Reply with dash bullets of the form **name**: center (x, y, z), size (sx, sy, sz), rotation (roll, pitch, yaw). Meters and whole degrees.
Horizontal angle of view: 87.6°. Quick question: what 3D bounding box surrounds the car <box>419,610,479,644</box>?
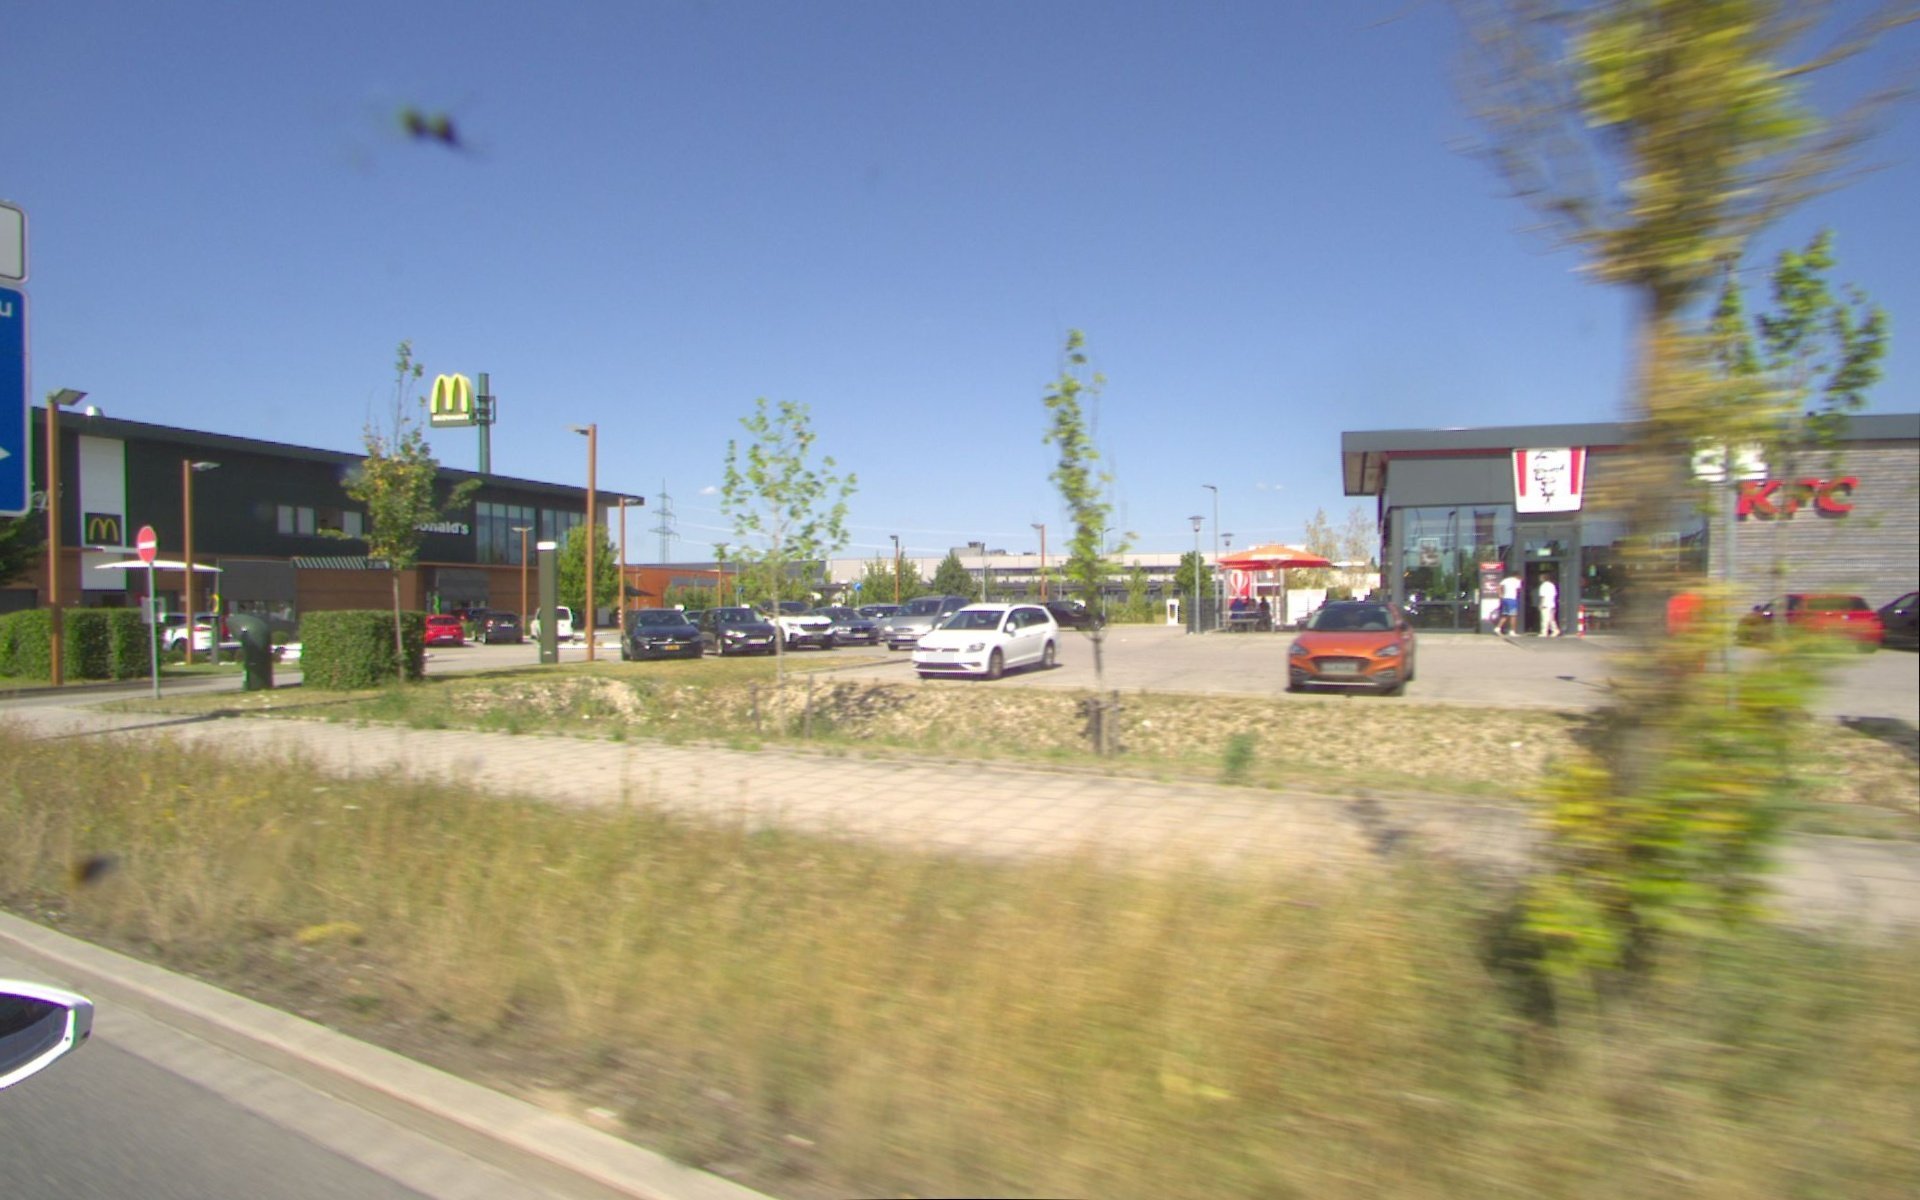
- **car**: center (-23.724, 1.231, 46.428), size (1.777, 1.453, 3.970), rotation (-1, 0, -37)

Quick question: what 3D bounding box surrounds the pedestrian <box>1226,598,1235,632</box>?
- **pedestrian**: center (10.094, 0.554, 37.351), size (0.287, 1.257, 0.379), rotation (-1, 1, 20)

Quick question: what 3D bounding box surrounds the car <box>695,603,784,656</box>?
- **car**: center (-6.790, 0.858, 30.540), size (1.763, 1.481, 4.153), rotation (-1, 0, -25)

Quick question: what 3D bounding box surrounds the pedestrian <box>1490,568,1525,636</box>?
- **pedestrian**: center (16.587, 0.066, 30.366), size (0.877, 2.040, 0.913), rotation (0, 0, 25)

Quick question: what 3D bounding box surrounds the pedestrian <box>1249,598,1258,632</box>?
- **pedestrian**: center (11.084, 0.560, 37.838), size (0.287, 1.257, 0.379), rotation (-1, 1, 20)

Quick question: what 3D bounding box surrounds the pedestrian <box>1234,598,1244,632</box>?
- **pedestrian**: center (10.380, 0.551, 37.258), size (0.287, 1.257, 0.379), rotation (-1, 1, 20)

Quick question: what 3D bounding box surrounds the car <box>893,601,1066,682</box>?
- **car**: center (0.560, 0.792, 21.408), size (1.840, 1.510, 4.521), rotation (0, 0, 28)

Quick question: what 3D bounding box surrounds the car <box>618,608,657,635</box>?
- **car**: center (-19.007, 1.230, 59.193), size (1.765, 1.540, 3.996), rotation (-1, 0, -12)

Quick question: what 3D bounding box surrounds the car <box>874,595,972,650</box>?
- **car**: center (-1.141, 0.707, 32.836), size (1.760, 1.657, 4.160), rotation (-1, 0, 21)

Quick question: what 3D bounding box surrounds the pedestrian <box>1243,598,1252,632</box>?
- **pedestrian**: center (10.675, 0.549, 37.152), size (0.287, 1.257, 0.379), rotation (-1, 1, 20)

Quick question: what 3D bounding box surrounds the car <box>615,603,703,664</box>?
- **car**: center (-8.202, 0.858, 27.077), size (1.676, 1.481, 4.153), rotation (-1, 0, -25)

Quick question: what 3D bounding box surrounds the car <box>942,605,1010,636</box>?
- **car**: center (0.735, 1.022, 50.036), size (1.763, 1.470, 4.153), rotation (-1, 0, -25)

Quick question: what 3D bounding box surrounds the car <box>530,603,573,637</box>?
- **car**: center (-21.616, 1.030, 52.897), size (1.771, 1.724, 3.983), rotation (-1, 0, -27)

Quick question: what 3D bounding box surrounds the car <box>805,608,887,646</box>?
- **car**: center (-4.286, 0.962, 37.111), size (1.763, 1.314, 4.153), rotation (-1, 0, -25)

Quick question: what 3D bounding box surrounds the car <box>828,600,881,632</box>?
- **car**: center (-6.124, 0.893, 57.615), size (1.763, 1.780, 4.153), rotation (-1, 0, -25)

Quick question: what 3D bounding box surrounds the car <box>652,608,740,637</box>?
- **car**: center (-13.390, 1.136, 50.852), size (4.111, 1.391, 1.793), rotation (-1, 0, -22)

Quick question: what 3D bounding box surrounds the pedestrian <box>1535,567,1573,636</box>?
- **pedestrian**: center (17.762, 0.056, 29.956), size (0.877, 2.040, 0.913), rotation (0, 0, 25)

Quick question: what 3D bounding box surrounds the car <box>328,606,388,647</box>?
- **car**: center (-25.800, 1.108, 42.868), size (1.777, 1.625, 3.970), rotation (-1, 0, -37)

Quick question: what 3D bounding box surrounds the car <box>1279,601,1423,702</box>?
- **car**: center (6.912, 0.780, 17.462), size (1.840, 1.510, 4.200), rotation (0, 0, 28)

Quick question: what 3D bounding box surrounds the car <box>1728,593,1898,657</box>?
- **car**: center (21.400, 0.570, 25.372), size (1.836, 1.450, 4.558), rotation (0, 1, 21)

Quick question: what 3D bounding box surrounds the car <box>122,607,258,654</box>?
- **car**: center (-25.380, 0.997, 33.023), size (3.931, 1.453, 1.794), rotation (-1, 0, 22)

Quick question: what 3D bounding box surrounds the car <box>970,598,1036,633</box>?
- **car**: center (2.208, 0.793, 52.456), size (1.763, 1.780, 4.153), rotation (-1, 0, -25)

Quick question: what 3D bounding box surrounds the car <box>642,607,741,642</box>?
- **car**: center (-11.532, 1.013, 42.970), size (3.934, 1.391, 1.793), rotation (-1, 0, -22)

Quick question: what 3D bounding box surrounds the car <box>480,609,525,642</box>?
- **car**: center (-22.560, 1.247, 49.295), size (1.771, 1.533, 3.982), rotation (-1, 0, -28)

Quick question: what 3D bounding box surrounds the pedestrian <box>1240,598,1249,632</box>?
- **pedestrian**: center (10.789, 0.563, 37.942), size (0.287, 1.257, 0.379), rotation (-1, 1, 20)

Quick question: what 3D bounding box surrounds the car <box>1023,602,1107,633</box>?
- **car**: center (5.589, 0.922, 53.509), size (4.099, 1.542, 1.786), rotation (0, 0, -21)

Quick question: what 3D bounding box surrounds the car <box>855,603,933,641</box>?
- **car**: center (-2.732, 0.864, 40.615), size (1.763, 1.470, 4.153), rotation (-1, 0, -25)

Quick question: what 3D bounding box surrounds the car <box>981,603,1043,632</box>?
- **car**: center (2.879, 0.985, 56.666), size (1.763, 1.542, 4.153), rotation (-1, 0, -25)

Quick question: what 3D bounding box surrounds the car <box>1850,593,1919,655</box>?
- **car**: center (23.806, 0.555, 24.272), size (1.836, 1.450, 4.558), rotation (0, 1, 21)

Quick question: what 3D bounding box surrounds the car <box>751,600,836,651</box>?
- **car**: center (-5.693, 0.830, 33.798), size (1.763, 1.600, 4.153), rotation (-1, 0, -25)
